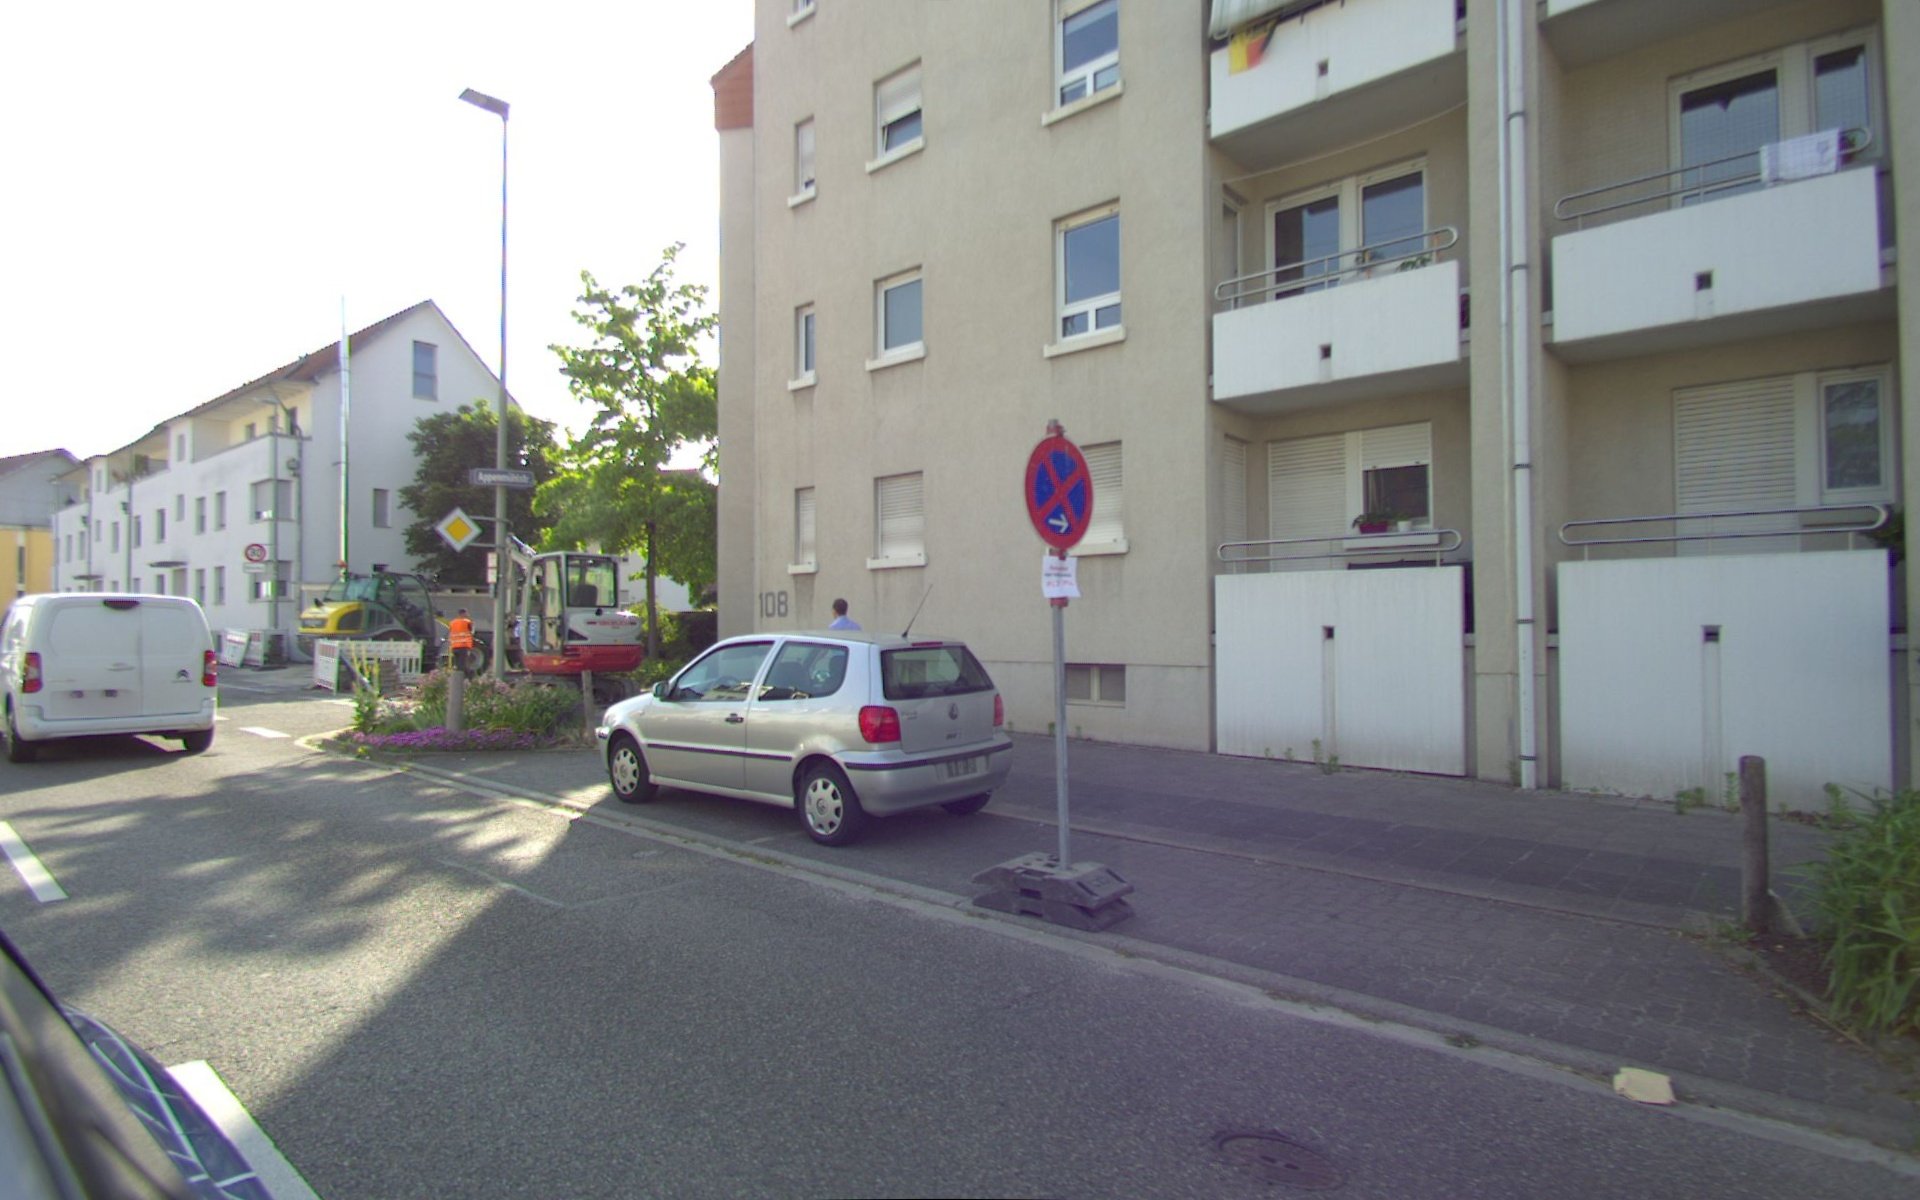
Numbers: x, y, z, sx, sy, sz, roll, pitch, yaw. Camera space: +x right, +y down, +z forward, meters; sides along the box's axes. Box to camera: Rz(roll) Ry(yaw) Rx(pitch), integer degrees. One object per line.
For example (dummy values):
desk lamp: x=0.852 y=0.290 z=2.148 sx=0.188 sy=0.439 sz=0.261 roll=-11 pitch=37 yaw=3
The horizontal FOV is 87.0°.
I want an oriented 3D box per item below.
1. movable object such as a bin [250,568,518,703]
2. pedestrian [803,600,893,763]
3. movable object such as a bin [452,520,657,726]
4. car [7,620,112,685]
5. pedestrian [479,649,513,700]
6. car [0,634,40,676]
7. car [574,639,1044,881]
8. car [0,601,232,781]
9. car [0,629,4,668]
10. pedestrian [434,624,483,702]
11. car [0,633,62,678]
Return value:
movable object such as a bin: x=-13.961 y=0.826 z=24.956 sx=2.103 sy=2.923 sz=5.460 roll=-2 pitch=-2 yaw=29
pedestrian: x=-1.310 y=0.924 z=11.854 sx=0.745 sy=1.832 sz=0.711 roll=-3 pitch=-2 yaw=42
movable object such as a bin: x=-7.031 y=0.423 z=17.400 sx=3.897 sy=3.162 sz=1.631 roll=-2 pitch=-3 yaw=40
car: x=-29.124 y=1.671 z=32.702 sx=4.431 sy=1.975 sz=1.711 roll=-2 pitch=-2 yaw=37
pedestrian: x=-10.578 y=1.683 z=23.068 sx=0.597 sy=1.108 sz=0.494 roll=-2 pitch=-1 yaw=42
car: x=-37.589 y=2.128 z=39.368 sx=4.252 sy=1.489 sz=1.713 roll=-2 pitch=0 yaw=34
car: x=-1.313 y=1.028 z=7.905 sx=3.668 sy=1.406 sz=1.624 roll=-2 pitch=-2 yaw=40
car: x=-10.542 y=0.987 z=12.160 sx=4.335 sy=1.780 sz=1.902 roll=-2 pitch=-4 yaw=41
car: x=-42.342 y=2.077 z=42.923 sx=4.252 sy=1.634 sz=1.713 roll=-2 pitch=-2 yaw=34
pedestrian: x=-11.150 y=1.384 z=22.501 sx=0.993 sy=1.677 sz=0.661 roll=-2 pitch=-1 yaw=42
car: x=-32.844 y=1.918 z=35.399 sx=3.508 sy=1.476 sz=1.479 roll=-2 pitch=-1 yaw=37
